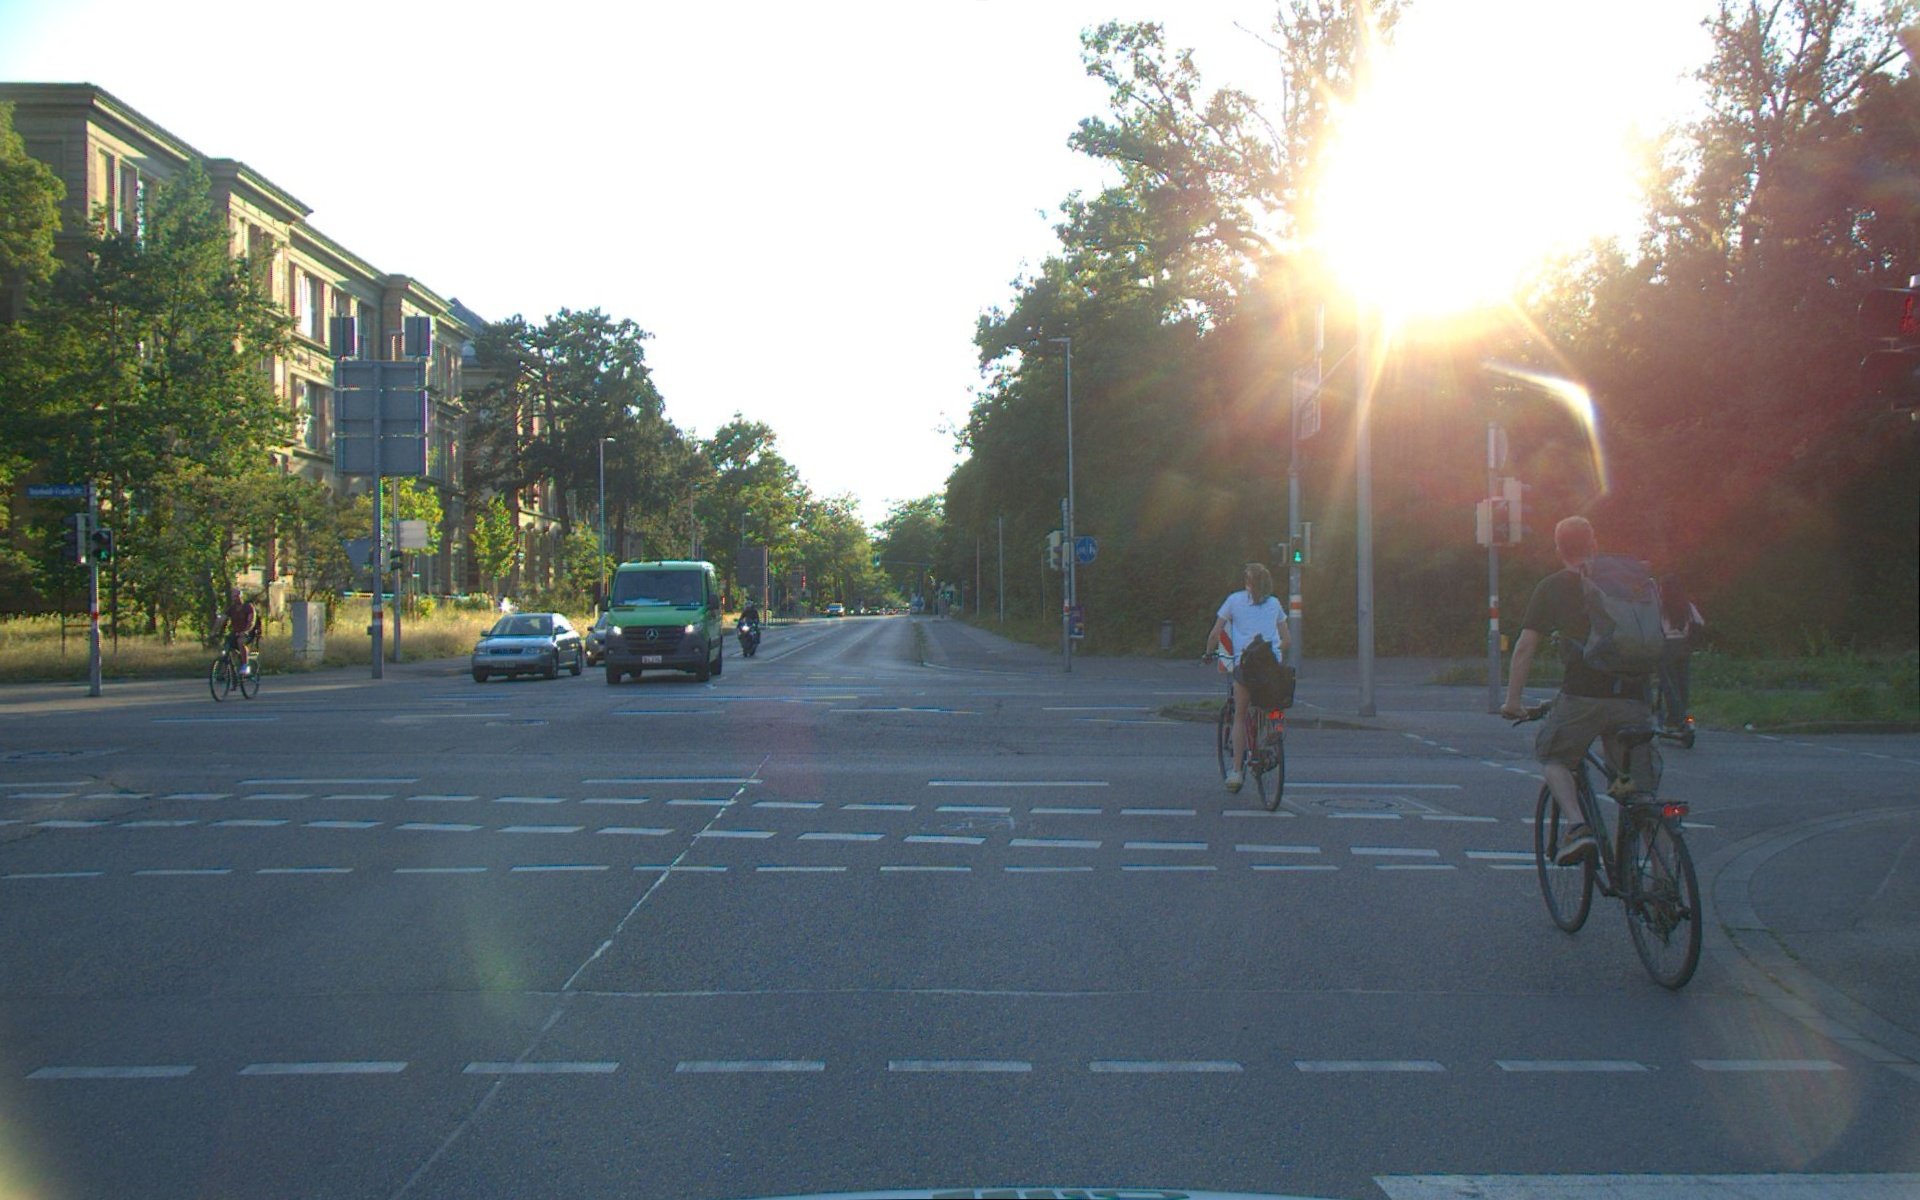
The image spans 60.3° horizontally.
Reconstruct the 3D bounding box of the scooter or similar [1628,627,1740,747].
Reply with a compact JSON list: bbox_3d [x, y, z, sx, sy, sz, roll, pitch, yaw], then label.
[{"bbox_3d":[7.628,0.896,17.487,0.550,1.210,1.422,0,-1,0],"label":"scooter or similar"}]

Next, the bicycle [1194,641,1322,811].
[{"bbox_3d":[2.231,0.911,12.578,0.601,1.158,1.884,0,0,-1],"label":"bicycle"}]

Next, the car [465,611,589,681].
[{"bbox_3d":[-9.378,0.959,36.127,1.695,1.433,4.139,-1,0,-1],"label":"car"}]

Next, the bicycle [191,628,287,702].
[{"bbox_3d":[-11.923,1.056,27.413,0.672,1.143,2.168,-1,0,-1],"label":"bicycle"}]

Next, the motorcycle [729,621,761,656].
[{"bbox_3d":[-6.460,1.159,49.797,0.739,1.019,1.878,-1,0,-1],"label":"motorcycle"}]

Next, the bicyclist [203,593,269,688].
[{"bbox_3d":[-11.908,0.656,27.214,0.669,1.539,0.955,-1,-1,-1],"label":"bicyclist"}]

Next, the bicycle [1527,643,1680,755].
[{"bbox_3d":[6.516,0.977,16.872,0.755,1.024,2.016,0,0,-1],"label":"bicycle"}]

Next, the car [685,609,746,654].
[{"bbox_3d":[-9.431,1.171,64.107,1.729,1.664,4.512,-1,0,-1],"label":"car"}]

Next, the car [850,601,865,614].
[{"bbox_3d":[-13.861,1.048,223.389,1.954,1.668,3.996,0,0,-4],"label":"car"}]

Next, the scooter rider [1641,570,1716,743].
[{"bbox_3d":[7.623,0.594,17.567,0.554,1.797,0.505,0,-1,0],"label":"scooter rider"}]

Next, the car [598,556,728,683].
[{"bbox_3d":[-5.905,0.375,33.548,1.999,2.318,5.935,-1,0,-5],"label":"car"}]

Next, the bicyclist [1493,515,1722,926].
[{"bbox_3d":[2.814,0.502,7.254,0.684,1.696,0.798,1,-1,0],"label":"bicyclist"}]

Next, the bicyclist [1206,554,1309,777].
[{"bbox_3d":[2.229,0.479,12.478,0.591,1.613,0.909,0,-1,-1],"label":"bicyclist"}]

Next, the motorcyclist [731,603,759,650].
[{"bbox_3d":[-6.462,0.805,49.736,0.734,1.382,0.704,-1,-1,-1],"label":"motorcyclist"}]

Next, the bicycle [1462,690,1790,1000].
[{"bbox_3d":[2.810,0.981,7.196,0.684,1.081,1.825,1,0,0],"label":"bicycle"}]

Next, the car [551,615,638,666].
[{"bbox_3d":[-10.367,1.130,47.149,1.729,1.351,3.642,-1,0,-1],"label":"car"}]

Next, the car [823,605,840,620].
[{"bbox_3d":[-13.705,1.316,176.469,1.735,1.500,3.772,0,0,-5],"label":"car"}]

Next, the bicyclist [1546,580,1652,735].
[{"bbox_3d":[6.516,0.575,16.898,0.744,1.544,0.856,0,0,-1],"label":"bicyclist"}]
